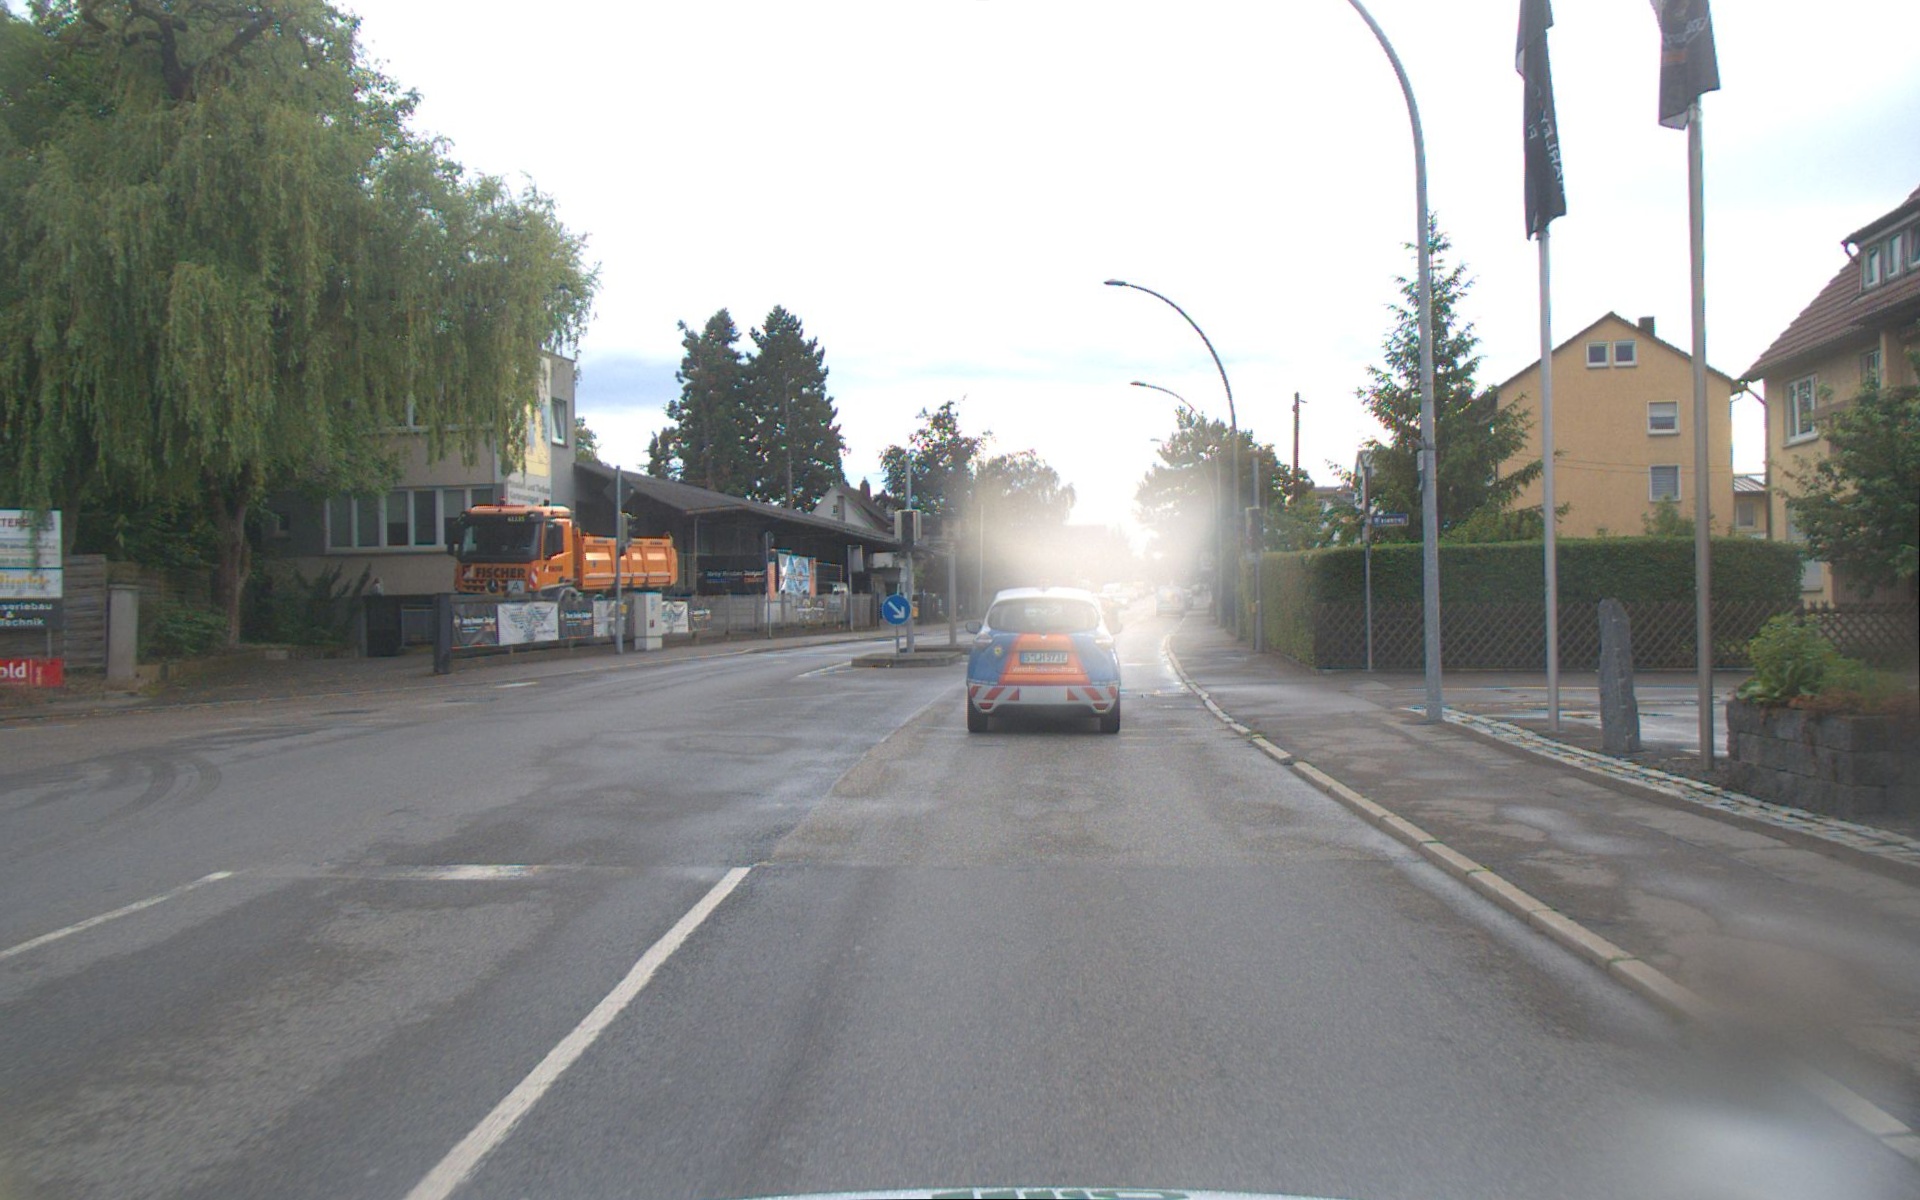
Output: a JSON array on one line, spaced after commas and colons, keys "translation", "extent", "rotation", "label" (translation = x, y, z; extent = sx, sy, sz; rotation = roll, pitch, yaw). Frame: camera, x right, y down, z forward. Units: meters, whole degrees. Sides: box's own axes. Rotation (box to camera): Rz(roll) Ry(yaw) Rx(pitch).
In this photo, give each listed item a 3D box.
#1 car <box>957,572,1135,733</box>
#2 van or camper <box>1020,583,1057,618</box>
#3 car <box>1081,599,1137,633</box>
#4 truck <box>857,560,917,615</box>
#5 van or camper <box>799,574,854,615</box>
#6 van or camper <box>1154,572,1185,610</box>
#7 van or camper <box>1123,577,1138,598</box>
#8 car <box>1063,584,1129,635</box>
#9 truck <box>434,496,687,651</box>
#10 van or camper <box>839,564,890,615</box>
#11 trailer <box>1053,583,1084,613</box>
[{"translation": [0.984, 0.541, 19.435], "extent": [1.849, 1.660, 4.001], "rotation": [-1, 0, 2], "label": "car"}, {"translation": [4.986, 0.053, 104.960], "extent": [1.850, 2.049, 5.100], "rotation": [1, -2, 8], "label": "van or camper"}, {"translation": [7.079, 0.771, 78.407], "extent": [1.951, 1.445, 4.002], "rotation": [1, -2, 15], "label": "car"}, {"translation": [-4.154, -0.690, 95.860], "extent": [2.343, 2.978, 5.961], "rotation": [1, -1, 8], "label": "truck"}, {"translation": [-6.707, -0.254, 83.471], "extent": [1.951, 1.942, 4.475], "rotation": [1, 0, 6], "label": "van or camper"}, {"translation": [12.883, -0.527, 101.877], "extent": [1.717, 1.916, 4.002], "rotation": [4, -3, 7], "label": "van or camper"}, {"translation": [23.258, -1.699, 225.401], "extent": [1.951, 2.823, 5.445], "rotation": [-1, 0, 7], "label": "van or camper"}, {"translation": [4.071, 0.318, 50.109], "extent": [1.685, 1.400, 3.933], "rotation": [2, -2, 1], "label": "car"}, {"translation": [-9.844, -0.489, 42.092], "extent": [2.640, 3.471, 9.078], "rotation": [1, -2, 11], "label": "truck"}, {"translation": [-5.184, -0.535, 90.220], "extent": [1.819, 2.480, 5.237], "rotation": [2, -2, 7], "label": "van or camper"}, {"translation": [8.649, -0.203, 131.363], "extent": [2.173, 2.048, 4.441], "rotation": [-4, 2, 7], "label": "trailer"}]
